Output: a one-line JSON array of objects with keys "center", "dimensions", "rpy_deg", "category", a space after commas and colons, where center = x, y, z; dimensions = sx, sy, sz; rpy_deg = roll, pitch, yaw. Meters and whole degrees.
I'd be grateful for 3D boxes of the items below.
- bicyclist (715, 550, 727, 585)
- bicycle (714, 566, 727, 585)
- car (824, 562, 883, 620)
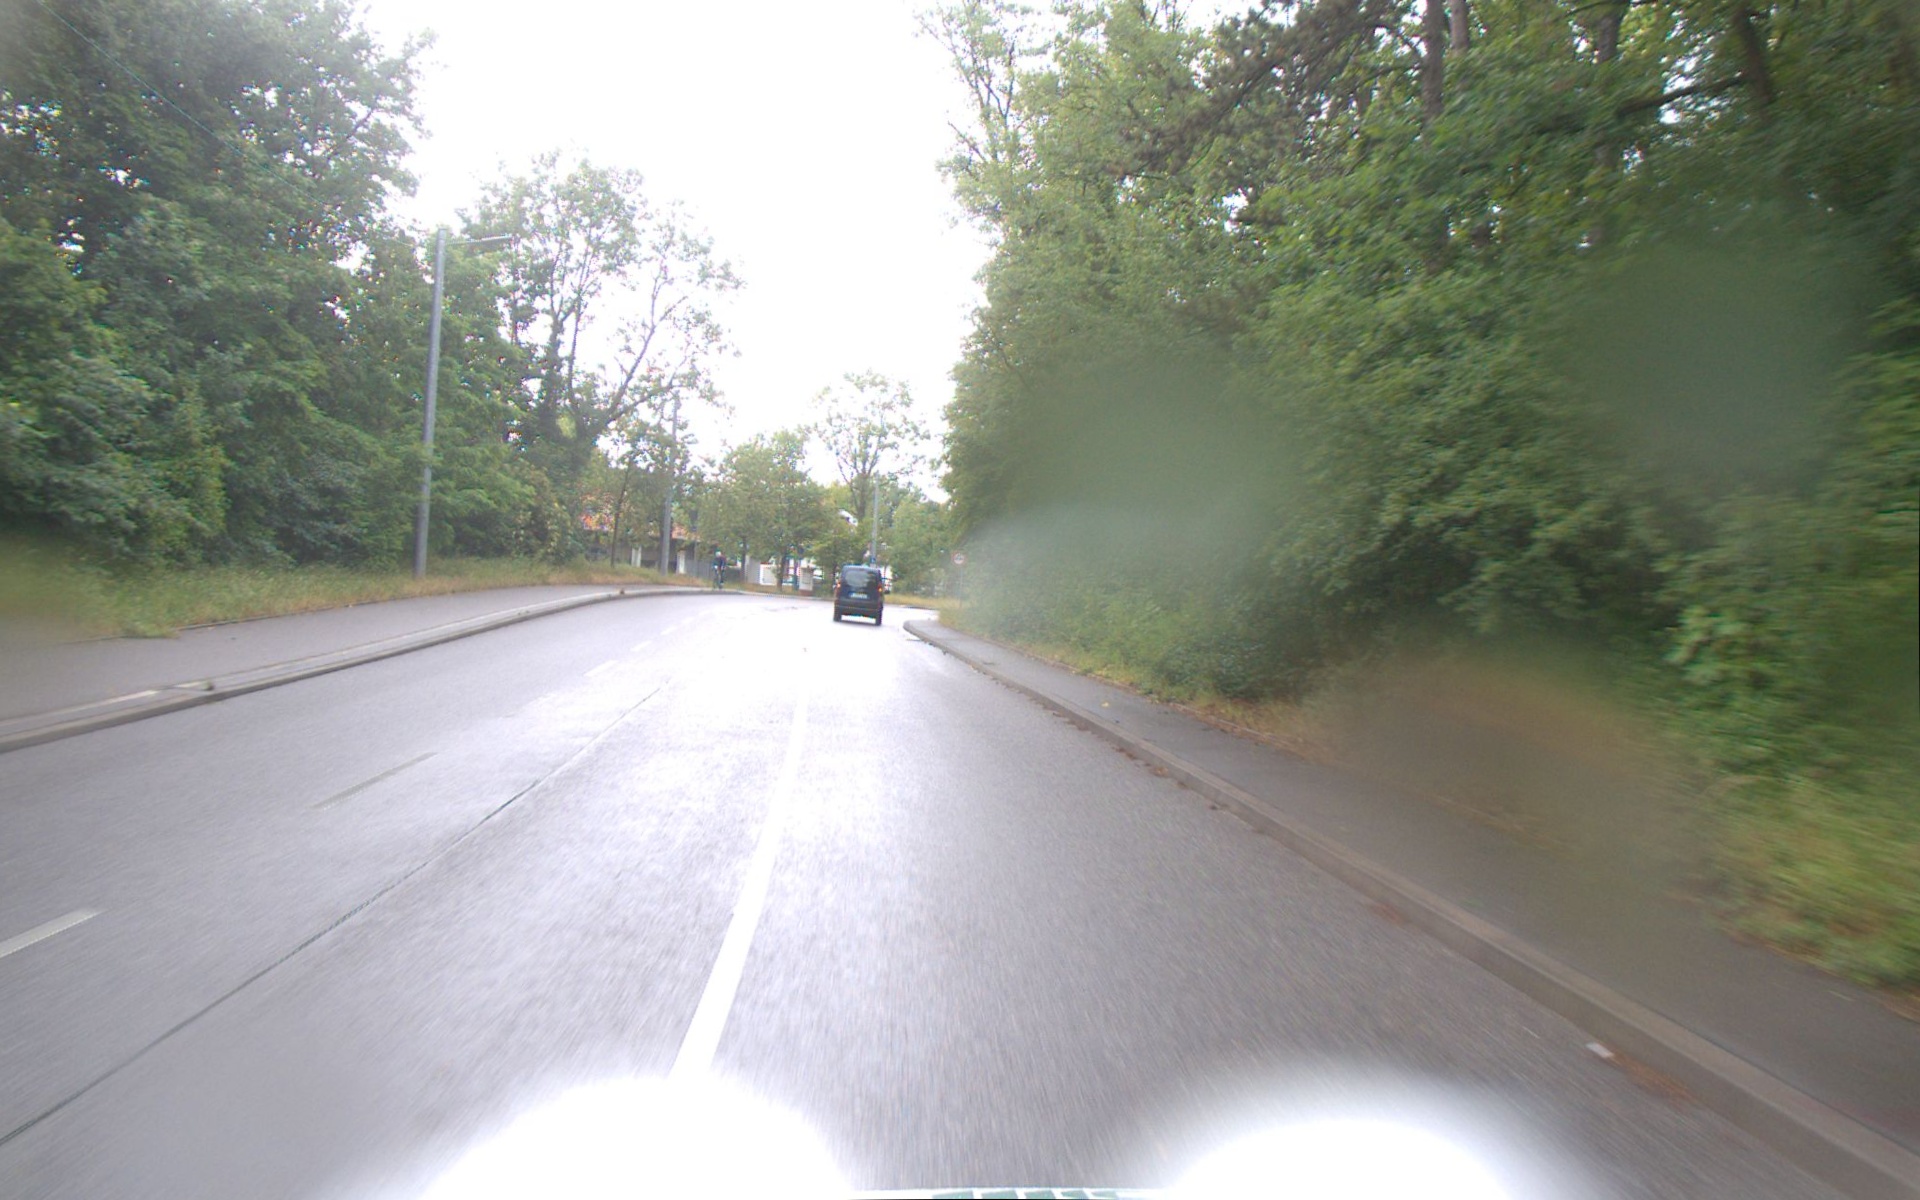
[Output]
[{"center": [-11.070, -1.514, 76.621], "dimensions": [0.329, 1.601, 1.297], "rpy_deg": [3, 1, -2], "category": "bicyclist"}, {"center": [-11.090, -1.133, 76.666], "dimensions": [0.348, 0.863, 2.093], "rpy_deg": [3, 1, -2], "category": "bicycle"}, {"center": [-3.617, -0.256, 55.688], "dimensions": [1.792, 1.825, 3.994], "rpy_deg": [1, -2, -7], "category": "car"}]
